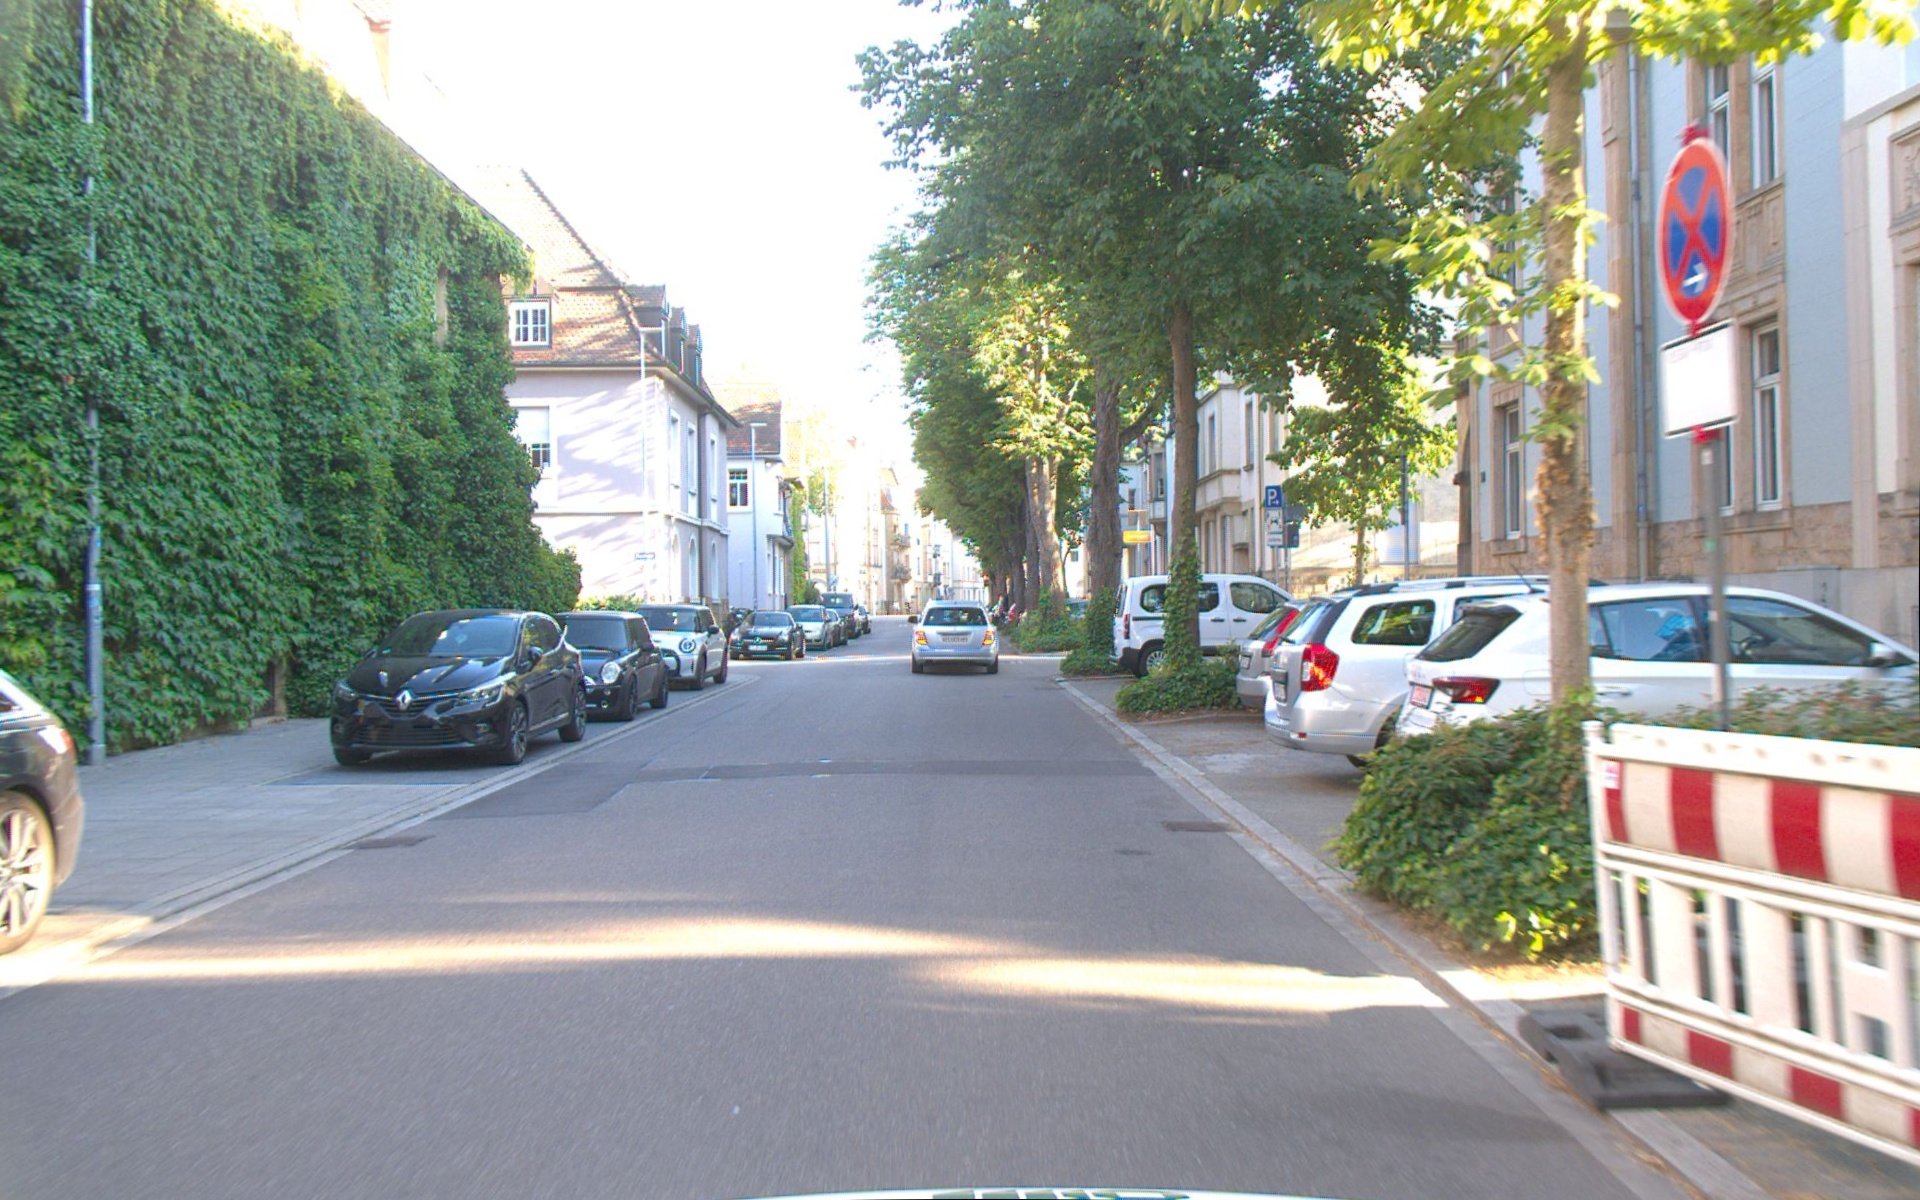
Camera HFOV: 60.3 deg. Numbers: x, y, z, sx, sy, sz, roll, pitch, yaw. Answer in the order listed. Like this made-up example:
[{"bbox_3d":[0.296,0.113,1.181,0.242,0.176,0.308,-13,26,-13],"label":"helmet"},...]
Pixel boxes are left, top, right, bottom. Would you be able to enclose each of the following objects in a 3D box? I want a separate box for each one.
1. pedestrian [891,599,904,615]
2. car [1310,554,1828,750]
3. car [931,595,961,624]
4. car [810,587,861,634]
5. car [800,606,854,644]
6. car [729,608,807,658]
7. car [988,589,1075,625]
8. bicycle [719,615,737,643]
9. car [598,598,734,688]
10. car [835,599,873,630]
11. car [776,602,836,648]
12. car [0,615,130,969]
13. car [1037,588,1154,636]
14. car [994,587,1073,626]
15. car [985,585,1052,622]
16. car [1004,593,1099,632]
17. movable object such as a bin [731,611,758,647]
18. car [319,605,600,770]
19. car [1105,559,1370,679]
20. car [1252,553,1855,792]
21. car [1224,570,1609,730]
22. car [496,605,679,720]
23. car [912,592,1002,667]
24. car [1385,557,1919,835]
[{"bbox_3d":[-6.514,0.724,173.308,1.195,1.752,1.504,0,0,3],"label":"pedestrian"},{"bbox_3d":[5.672,0.462,15.776,4.227,1.561,1.828,-3,0,-1],"label":"car"},{"bbox_3d":[-0.778,0.542,94.080,1.590,1.597,3.680,-1,0,0],"label":"car"},{"bbox_3d":[-5.405,0.443,72.313,1.942,1.982,4.850,0,0,-1],"label":"car"},{"bbox_3d":[-4.856,0.895,60.862,1.499,1.342,4.227,0,-1,2],"label":"car"},{"bbox_3d":[-5.416,0.901,46.982,1.619,1.347,4.046,0,0,2],"label":"car"},{"bbox_3d":[4.175,0.406,97.434,4.952,2.024,2.071,-1,0,-3],"label":"car"},{"bbox_3d":[-8.263,1.028,58.852,0.385,0.953,1.722,-1,0,0],"label":"bicycle"},{"bbox_3d":[-5.160,0.721,29.512,1.669,1.486,3.918,0,0,1],"label":"car"},{"bbox_3d":[-5.307,0.700,83.183,1.660,1.472,4.357,0,0,0],"label":"car"},{"bbox_3d":[-5.133,0.814,55.596,1.619,1.471,3.960,0,0,0],"label":"car"},{"bbox_3d":[-4.882,0.820,5.763,1.756,1.487,4.775,0,0,-3],"label":"car"},{"bbox_3d":[4.623,0.404,56.588,3.719,1.463,1.747,-2,0,-5],"label":"car"},{"bbox_3d":[3.993,0.375,90.172,4.135,1.929,1.904,-2,0,-3],"label":"car"},{"bbox_3d":[3.894,0.224,110.274,4.301,2.405,1.999,-1,0,-3],"label":"car"},{"bbox_3d":[4.047,0.567,73.576,4.103,1.501,1.852,-3,0,2],"label":"car"},{"bbox_3d":[-7.942,1.056,60.960,0.707,1.306,2.096,-1,0,0],"label":"movable object such as a bin"},{"bbox_3d":[-4.930,0.792,16.865,1.616,1.445,4.098,0,0,0],"label":"car"},{"bbox_3d":[4.796,0.315,29.044,4.227,1.838,2.000,-3,0,-1],"label":"car"},{"bbox_3d":[4.470,0.528,12.903,4.058,1.561,1.687,-3,0,1],"label":"car"},{"bbox_3d":[4.878,0.512,18.024,3.672,1.488,1.734,-3,0,-1],"label":"car"},{"bbox_3d":[-4.961,0.791,22.503,1.652,1.404,3.720,0,0,0],"label":"car"},{"bbox_3d":[-0.045,0.595,33.952,1.747,1.462,3.850,0,-1,0],"label":"car"},{"bbox_3d":[4.760,0.536,10.360,3.771,1.488,1.688,-3,0,4],"label":"car"}]
